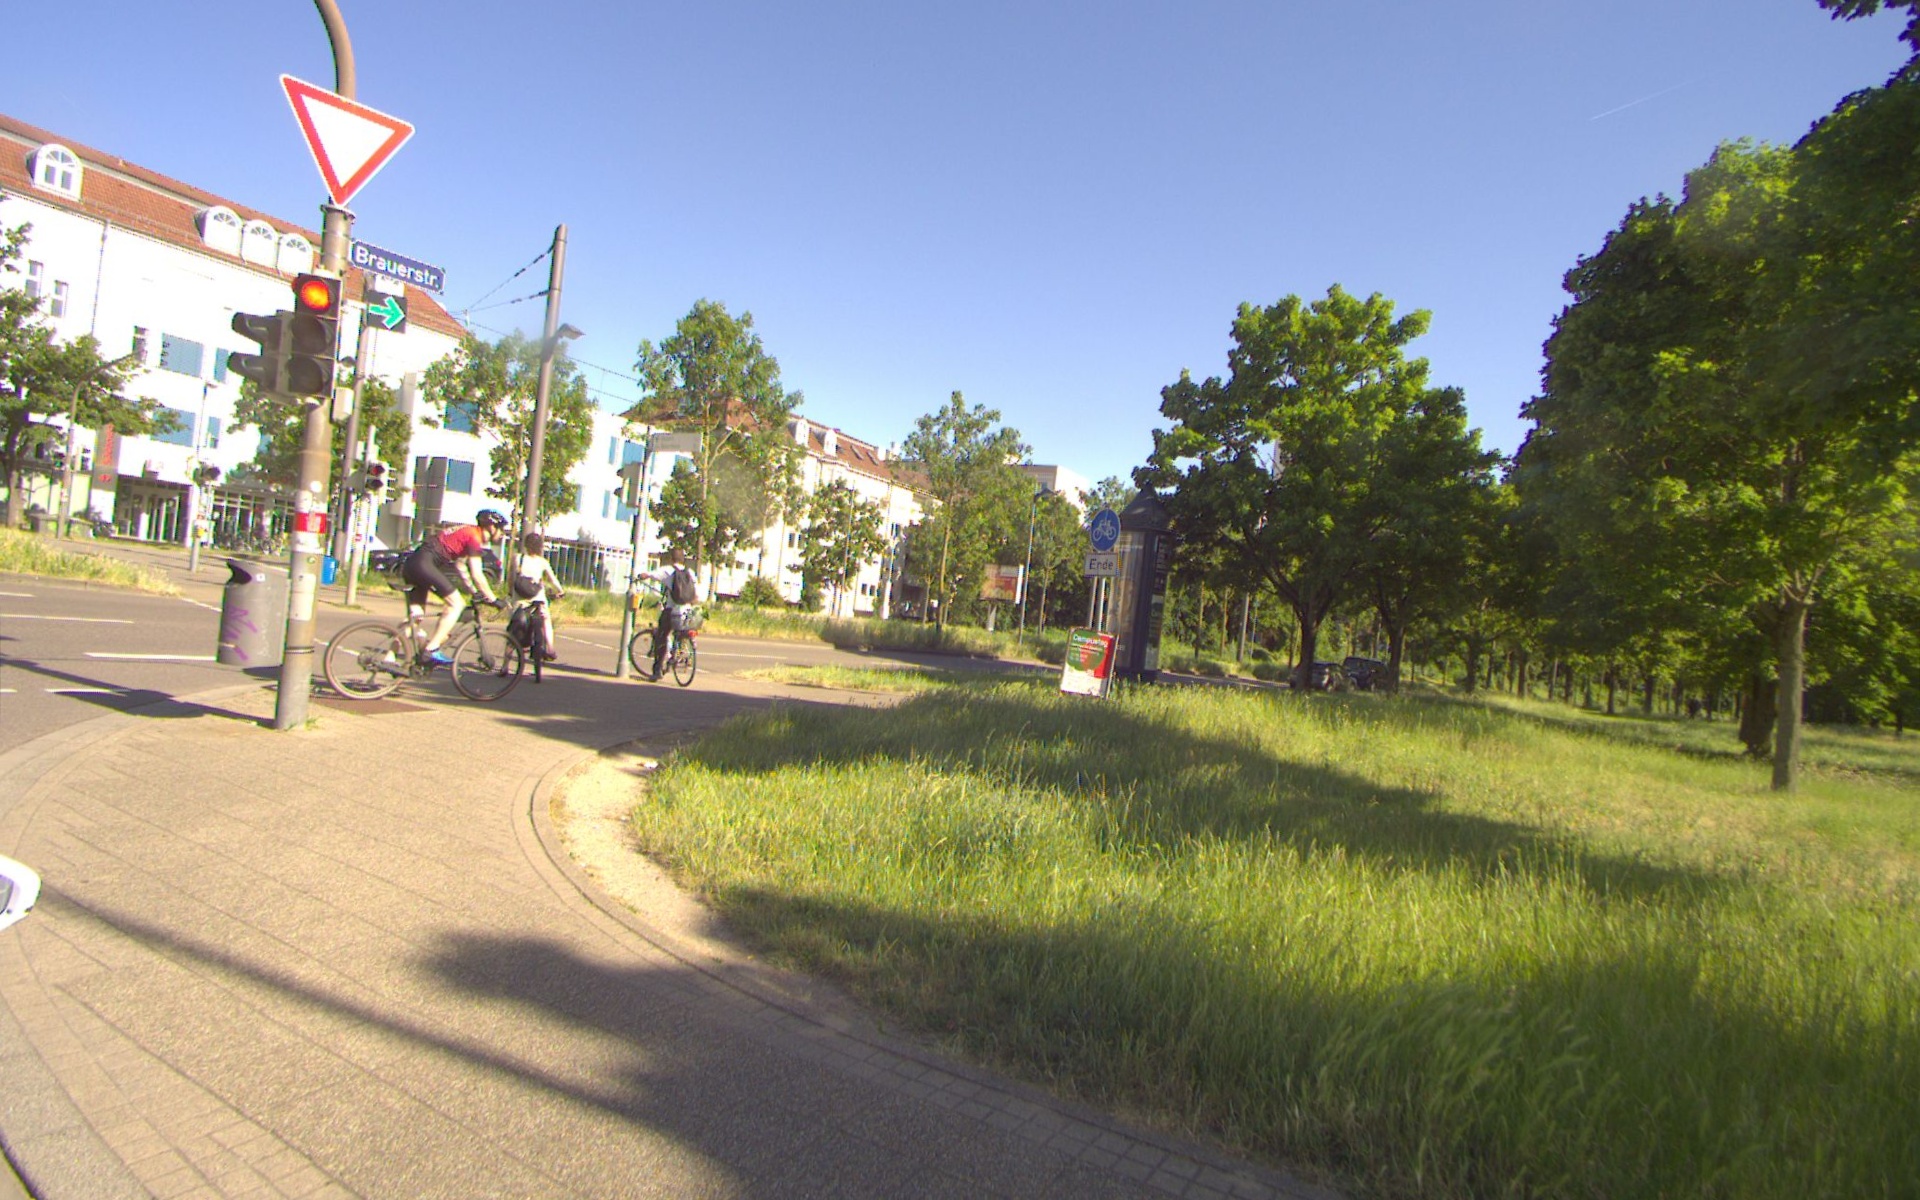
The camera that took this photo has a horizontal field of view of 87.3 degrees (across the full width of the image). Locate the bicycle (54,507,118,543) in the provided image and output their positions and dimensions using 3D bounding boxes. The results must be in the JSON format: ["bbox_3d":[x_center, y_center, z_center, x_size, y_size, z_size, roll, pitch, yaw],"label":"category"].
[{"bbox_3d":[-36.271,-3.106,41.766,0.552,1.197,1.868,7,0,26],"label":"bicycle"}]

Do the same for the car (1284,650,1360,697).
[{"bbox_3d":[16.273,3.311,45.114,1.672,1.595,3.855,5,-4,44],"label":"car"}]

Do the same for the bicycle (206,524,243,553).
[{"bbox_3d":[-34.707,-2.892,47.471,1.837,1.197,0.561,6,0,28],"label":"bicycle"}]

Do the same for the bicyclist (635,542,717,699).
[{"bbox_3d":[-3.877,0.264,13.665,0.782,1.983,1.006,6,0,-22],"label":"bicyclist"}]

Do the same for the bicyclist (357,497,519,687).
[{"bbox_3d":[-4.736,-0.056,9.156,0.663,1.605,1.001,7,0,38],"label":"bicyclist"}]

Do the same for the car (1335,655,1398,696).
[{"bbox_3d":[23.308,4.344,57.596,1.741,1.820,4.479,5,-4,43],"label":"car"}]

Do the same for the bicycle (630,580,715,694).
[{"bbox_3d":[-4.037,0.467,14.003,0.782,1.364,2.251,6,0,-22],"label":"bicycle"}]

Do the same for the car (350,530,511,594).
[{"bbox_3d":[-18.553,-1.297,35.411,1.971,1.629,4.498,6,-1,39],"label":"car"}]

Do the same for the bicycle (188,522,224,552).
[{"bbox_3d":[-34.888,-2.928,46.535,1.837,1.197,0.561,6,0,28],"label":"bicycle"}]

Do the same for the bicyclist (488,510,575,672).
[{"bbox_3d":[-5.294,-0.109,12.474,0.782,1.847,1.129,6,0,-22],"label":"bicyclist"}]

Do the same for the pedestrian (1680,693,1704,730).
[{"bbox_3d":[36.067,5.483,49.573,0.728,1.748,0.887,7,0,33],"label":"pedestrian"}]

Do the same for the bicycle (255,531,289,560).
[{"bbox_3d":[-33.442,-2.647,48.897,1.839,1.197,0.561,6,0,31],"label":"bicycle"}]

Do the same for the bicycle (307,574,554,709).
[{"bbox_3d":[-4.772,0.410,9.180,0.663,1.068,1.805,6,0,38],"label":"bicycle"}]

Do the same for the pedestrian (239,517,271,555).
[{"bbox_3d":[-34.683,-3.138,49.500,0.643,1.744,0.991,7,0,28],"label":"pedestrian"}]

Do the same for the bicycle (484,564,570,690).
[{"bbox_3d":[-5.323,0.285,12.446,0.782,1.364,2.068,6,0,-22],"label":"bicycle"}]
